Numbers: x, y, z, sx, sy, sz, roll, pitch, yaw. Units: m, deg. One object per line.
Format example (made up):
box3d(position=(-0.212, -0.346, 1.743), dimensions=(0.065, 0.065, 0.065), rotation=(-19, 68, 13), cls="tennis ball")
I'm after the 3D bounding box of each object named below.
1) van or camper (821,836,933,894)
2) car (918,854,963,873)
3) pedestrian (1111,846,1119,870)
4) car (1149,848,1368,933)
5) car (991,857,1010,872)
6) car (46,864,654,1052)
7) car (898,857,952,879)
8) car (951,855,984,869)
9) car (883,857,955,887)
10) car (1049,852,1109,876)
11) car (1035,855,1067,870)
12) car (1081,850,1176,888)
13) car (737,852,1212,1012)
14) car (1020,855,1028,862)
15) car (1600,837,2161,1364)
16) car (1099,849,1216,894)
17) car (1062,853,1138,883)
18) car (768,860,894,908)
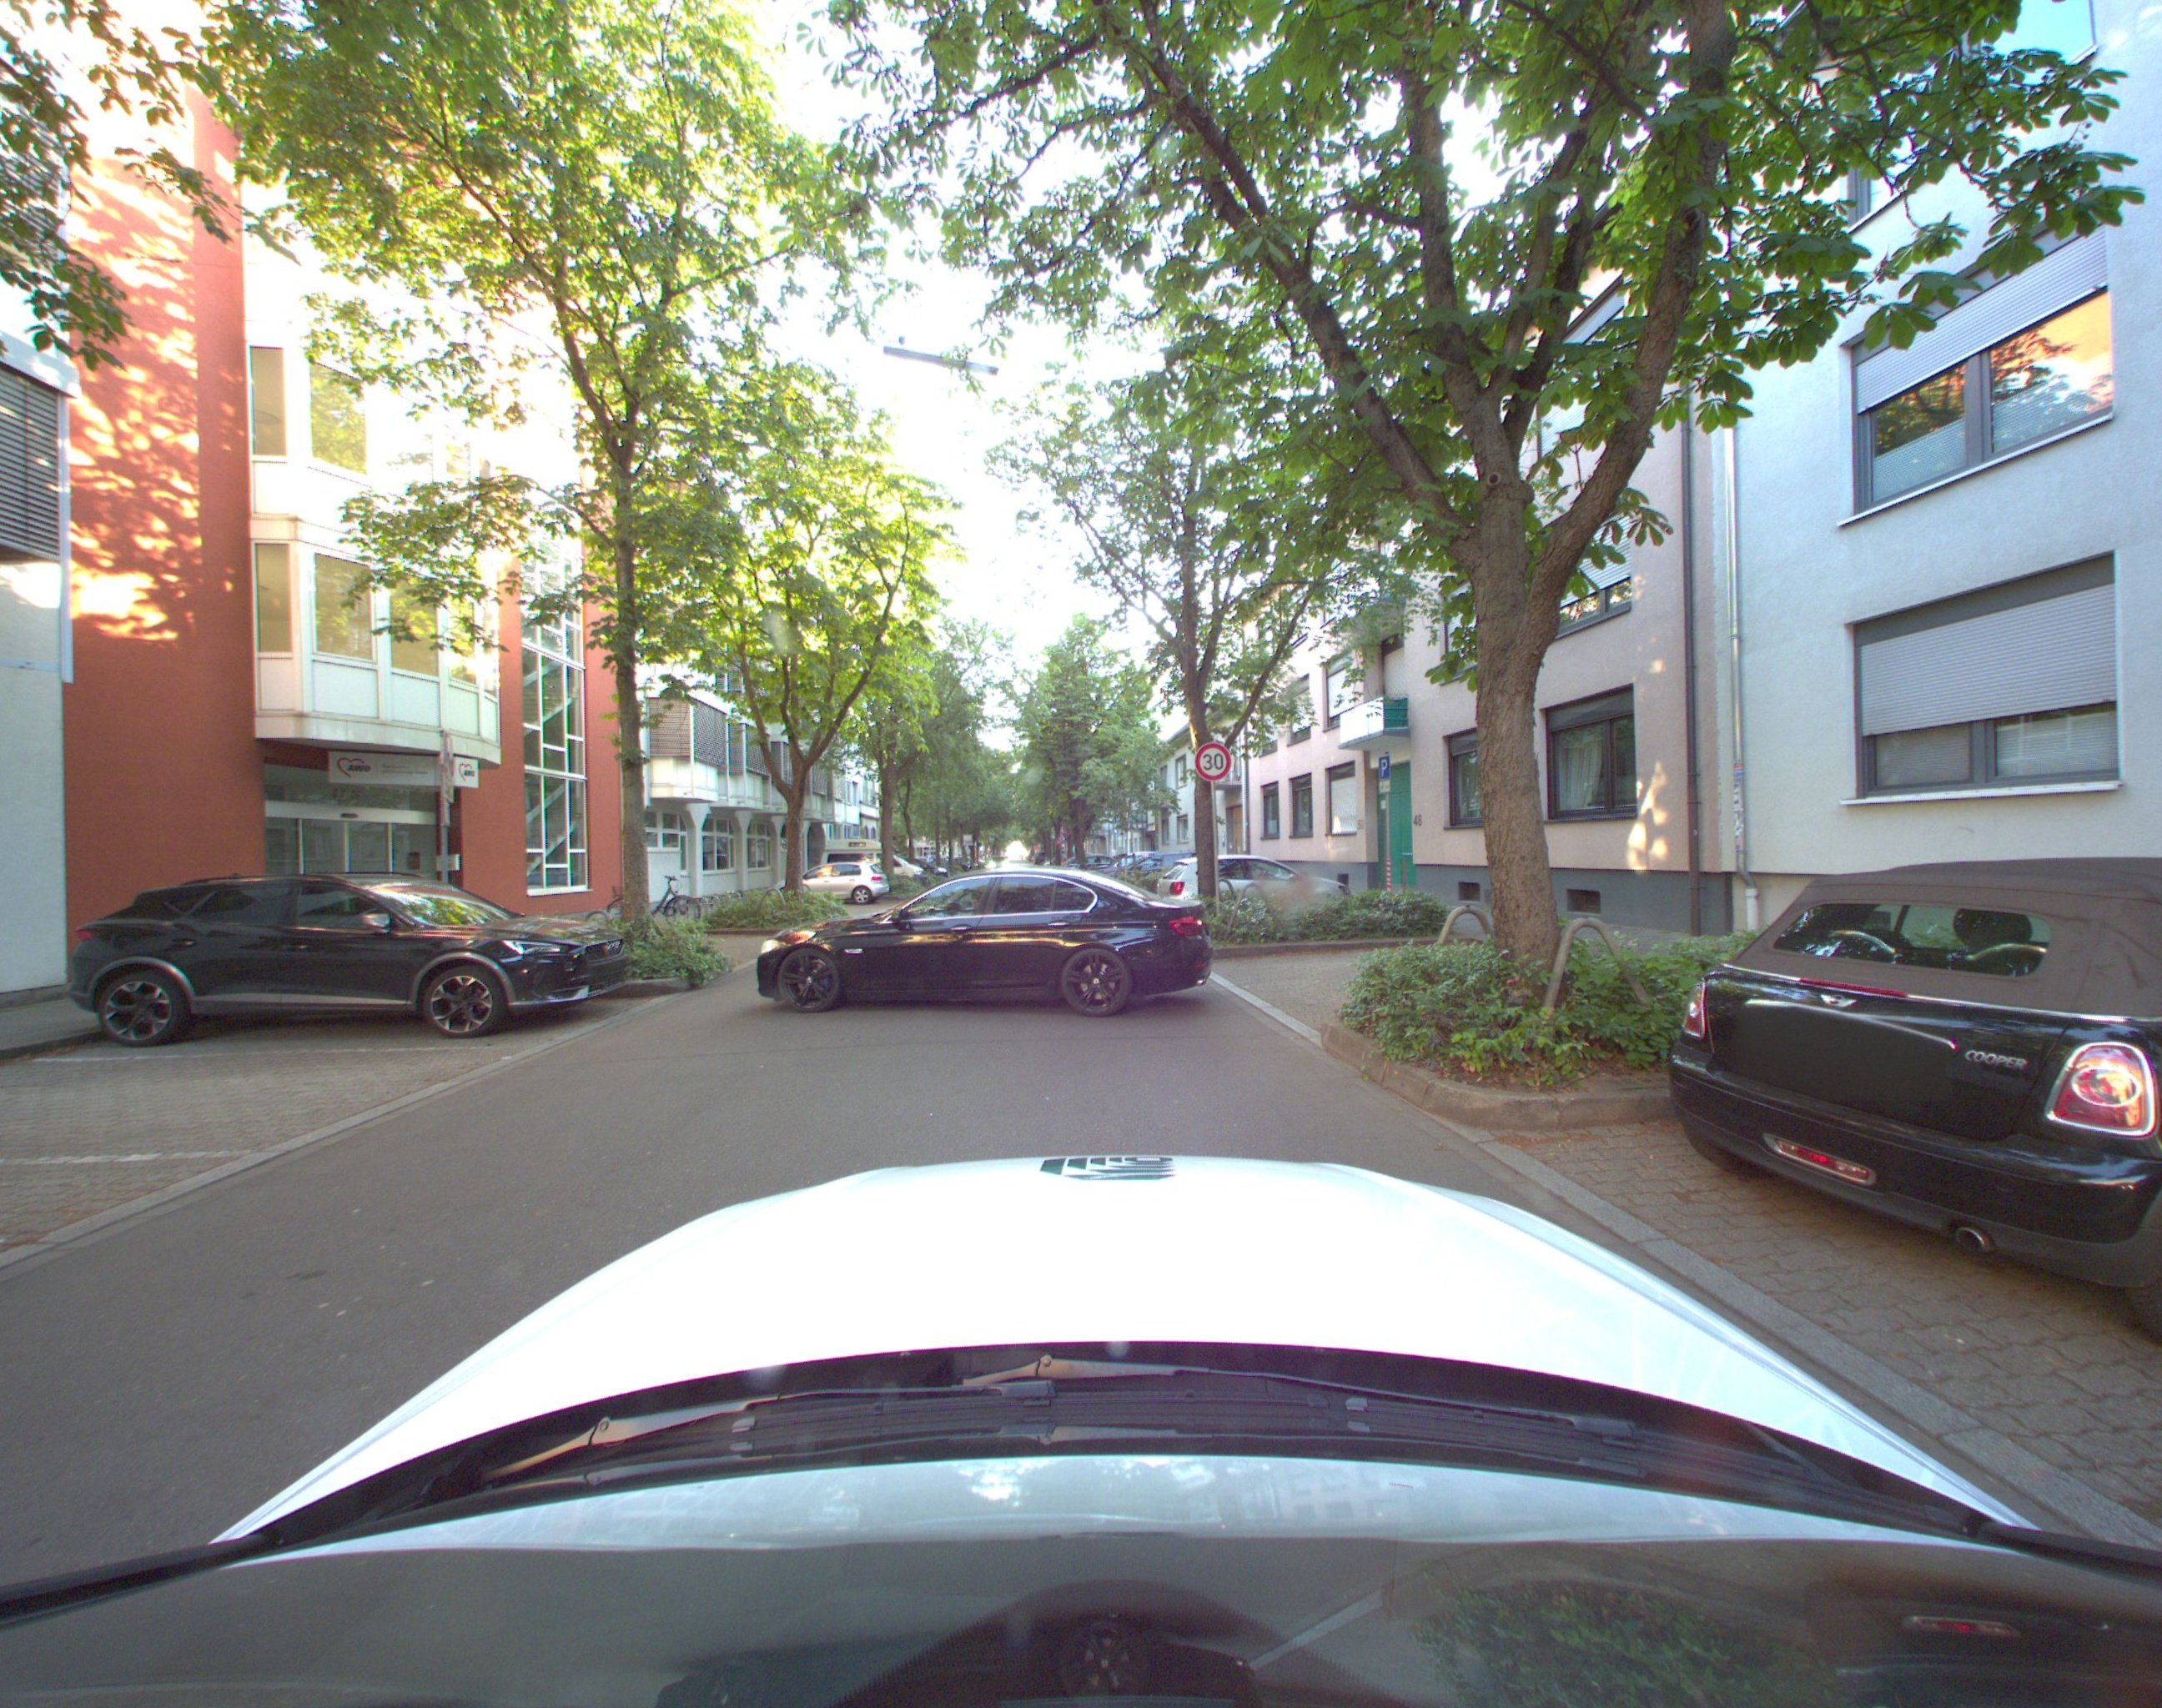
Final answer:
box3d(position=(-9.290, 0.484, 37.418), dimensions=(4.656, 2.478, 1.997), rotation=(-1, 0, -5), cls="van or camper")
box3d(position=(-13.175, 0.865, 76.630), dimensions=(3.959, 1.619, 1.783), rotation=(-2, 0, -4), cls="car")
box3d(position=(2.922, 0.315, 69.593), dimensions=(0.587, 2.013, 0.669), rotation=(-1, 0, -3), cls="pedestrian")
box3d(position=(3.434, 0.673, 16.118), dimensions=(3.904, 1.476, 1.661), rotation=(-2, 0, -7), cls="car")
box3d(position=(-8.648, 1.100, 87.512), dimensions=(1.775, 1.562, 4.162), rotation=(-1, 0, -4), cls="car")
box3d(position=(-7.022, 0.930, 8.273), dimensions=(4.347, 1.517, 1.782), rotation=(-2, 0, -5), cls="car")
box3d(position=(-12.393, 1.070, 64.968), dimensions=(3.959, 1.619, 1.783), rotation=(-2, 0, -4), cls="car")
box3d(position=(-14.295, 1.011, 102.965), dimensions=(3.959, 1.619, 1.783), rotation=(-2, 0, -4), cls="car")
box3d(position=(-9.590, 1.044, 48.421), dimensions=(3.960, 1.619, 1.783), rotation=(-2, 0, -4), cls="car")
box3d(position=(-0.171, 0.659, 56.987), dimensions=(3.963, 1.527, 1.781), rotation=(-2, 0, -6), cls="car")
box3d(position=(-3.719, 1.057, 101.053), dimensions=(3.959, 1.684, 1.783), rotation=(-2, 0, -4), cls="car")
box3d(position=(2.079, 0.665, 36.242), dimensions=(3.962, 1.527, 1.782), rotation=(-2, 0, -5), cls="car")
box3d(position=(-1.001, 0.781, 8.822), dimensions=(4.717, 1.480, 1.805), rotation=(-1, 0, 9), cls="car")
box3d(position=(-13.810, 1.139, 195.999), dimensions=(1.819, 1.530, 3.995), rotation=(-2, 0, -4), cls="car")
box3d(position=(4.348, 0.631, 3.268), dimensions=(3.608, 1.363, 1.660), rotation=(-2, 0, -8), cls="car")
box3d(position=(2.736, 0.629, 29.752), dimensions=(3.963, 1.476, 1.781), rotation=(-2, 0, -7), cls="car")
box3d(position=(1.021, 0.742, 45.084), dimensions=(3.962, 1.527, 1.782), rotation=(-2, 0, -5), cls="car")
box3d(position=(-8.845, 1.046, 29.084), dimensions=(3.960, 1.517, 1.783), rotation=(-2, 0, -4), cls="car")
